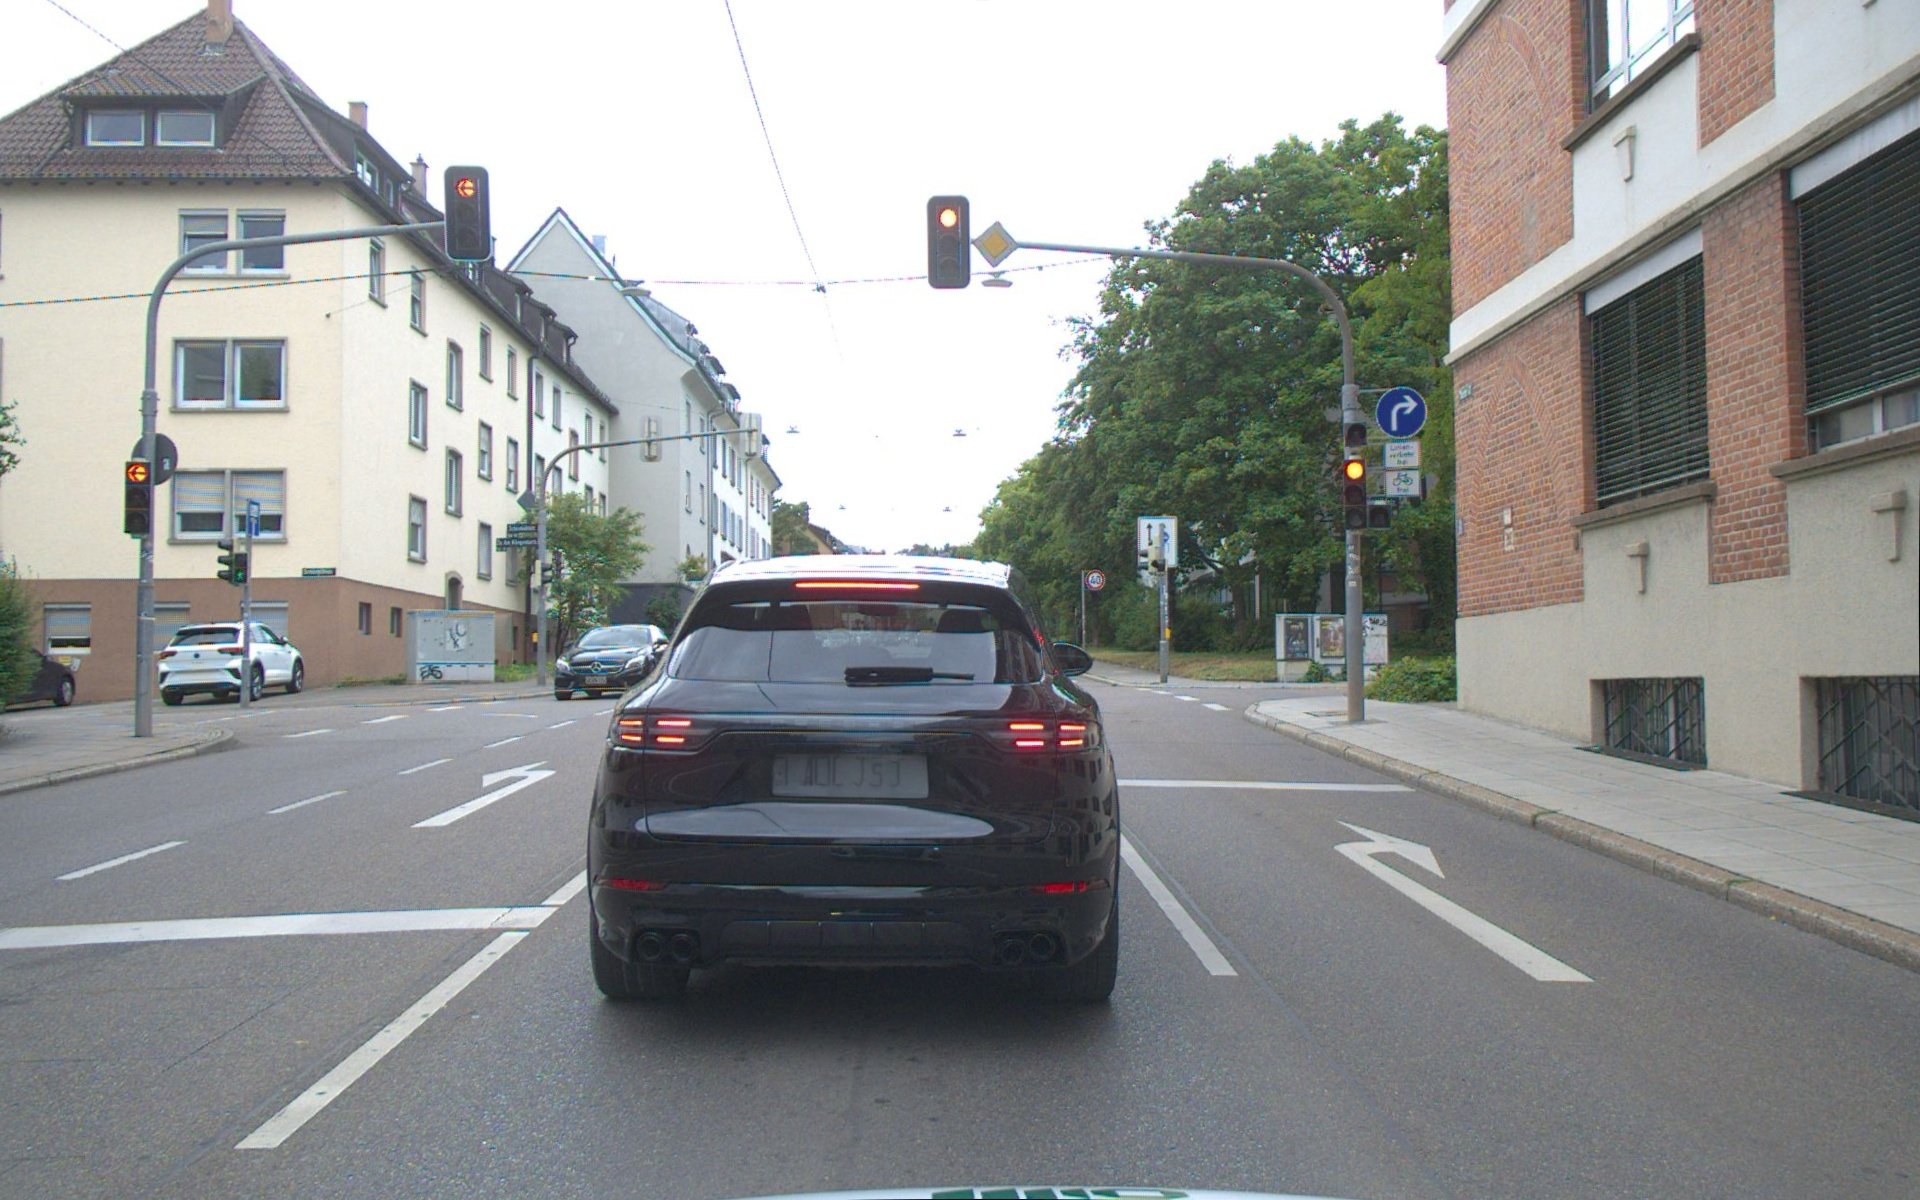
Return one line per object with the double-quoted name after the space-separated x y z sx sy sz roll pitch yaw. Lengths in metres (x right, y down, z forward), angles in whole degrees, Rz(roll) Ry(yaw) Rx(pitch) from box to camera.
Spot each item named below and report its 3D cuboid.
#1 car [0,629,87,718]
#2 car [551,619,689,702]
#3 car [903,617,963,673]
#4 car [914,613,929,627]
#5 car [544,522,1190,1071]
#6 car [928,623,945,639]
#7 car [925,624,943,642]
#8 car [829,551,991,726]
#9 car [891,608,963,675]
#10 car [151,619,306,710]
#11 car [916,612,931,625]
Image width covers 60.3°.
-19.632 1.496 33.897 1.658 1.636 3.762 -3 0 -5 "car"
-6.575 1.126 32.477 1.749 1.443 4.669 -2 -1 -1 "car"
-0.850 1.404 52.647 1.790 1.633 3.858 1 0 -1 "car"
-4.742 2.405 202.977 1.790 1.633 4.134 1 0 -1 "car"
-0.309 0.614 7.352 2.007 1.695 4.266 1 0 -1 "car"
-2.621 3.387 182.534 1.790 1.633 4.134 1 0 -1 "car"
-2.531 3.232 161.703 1.790 1.633 4.134 1 0 -1 "car"
-0.620 0.459 22.023 1.925 2.078 4.134 1 0 -1 "car"
-0.843 1.052 43.934 1.790 1.633 4.134 1 0 -1 "car"
-14.715 1.252 33.486 1.658 1.582 3.762 -3 0 -5 "car"
-4.670 2.354 210.304 1.790 1.633 4.134 1 0 -1 "car"
